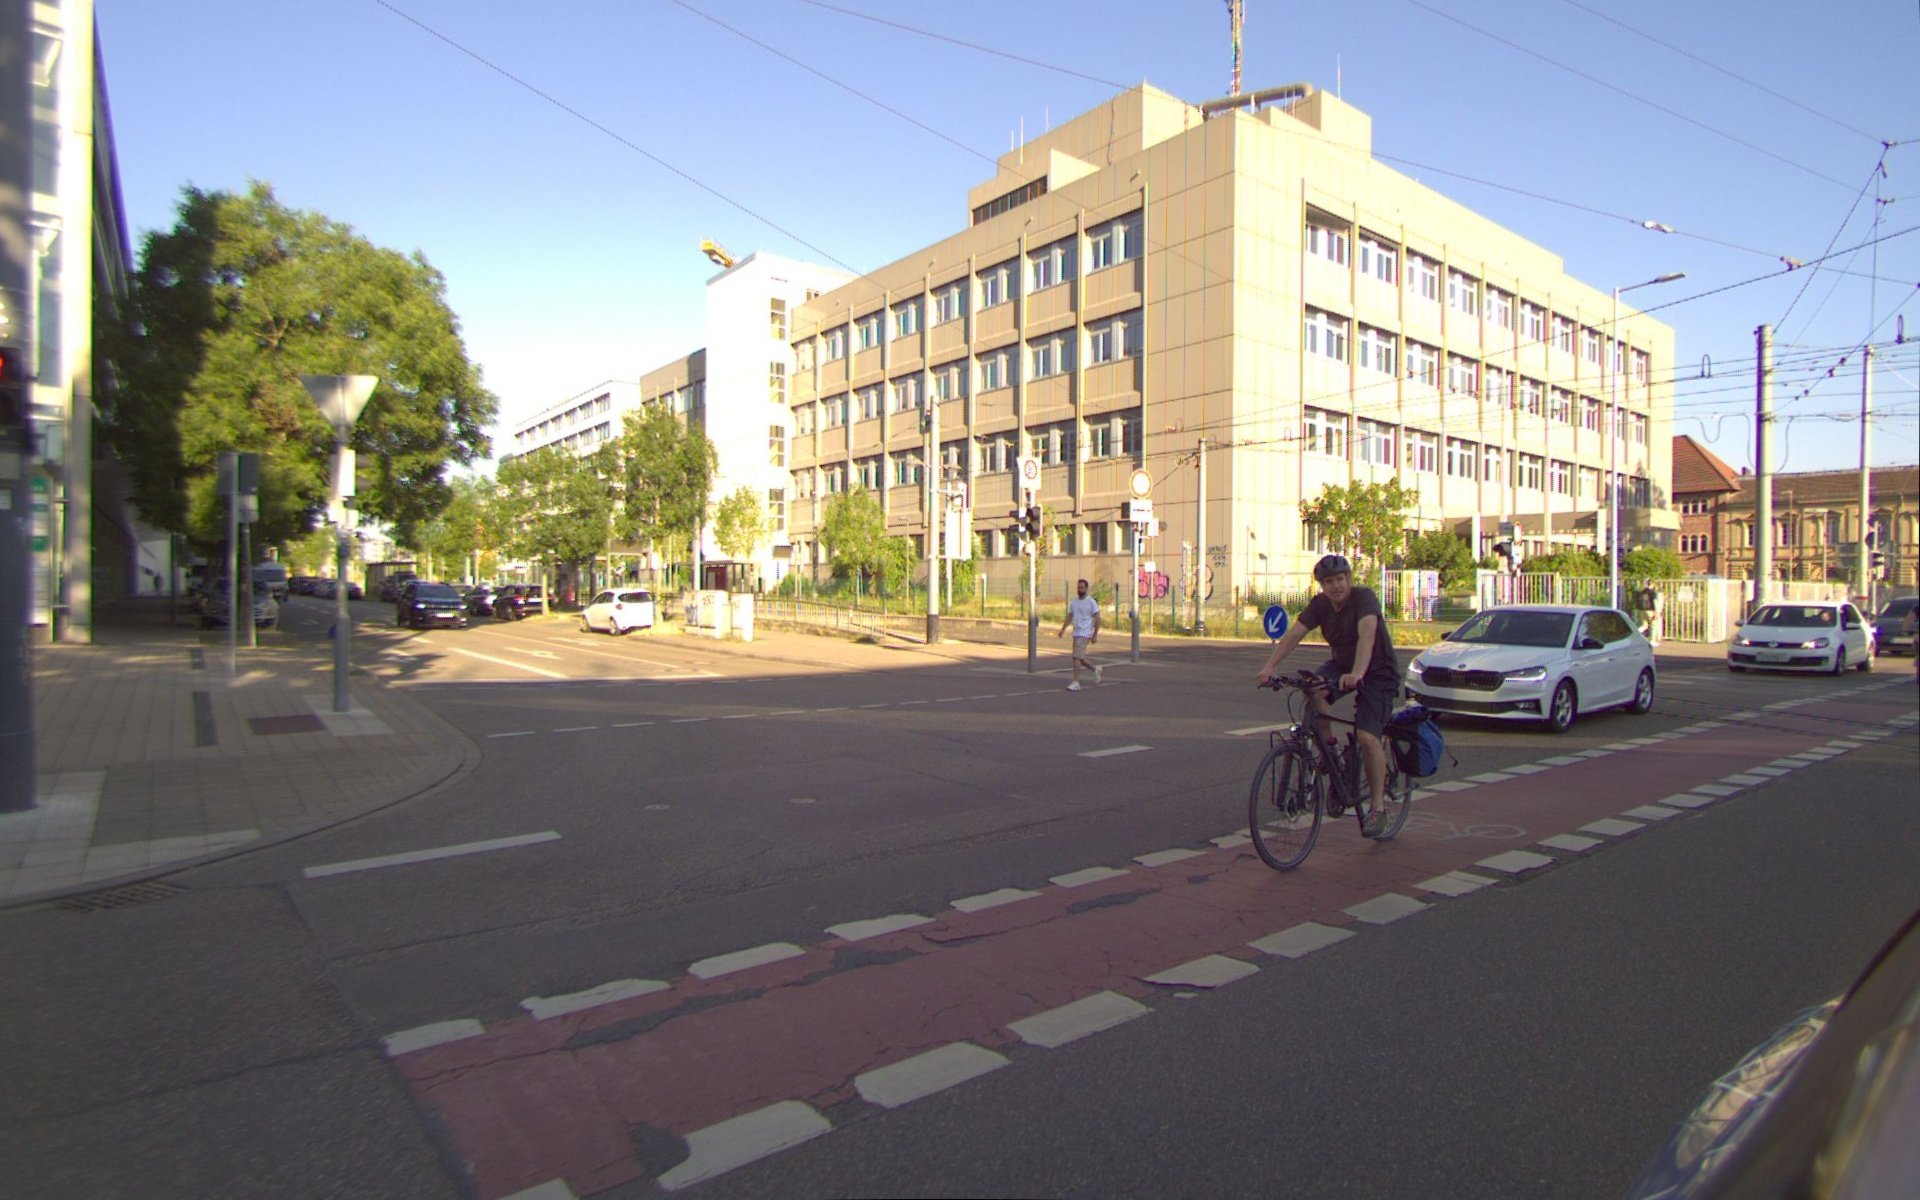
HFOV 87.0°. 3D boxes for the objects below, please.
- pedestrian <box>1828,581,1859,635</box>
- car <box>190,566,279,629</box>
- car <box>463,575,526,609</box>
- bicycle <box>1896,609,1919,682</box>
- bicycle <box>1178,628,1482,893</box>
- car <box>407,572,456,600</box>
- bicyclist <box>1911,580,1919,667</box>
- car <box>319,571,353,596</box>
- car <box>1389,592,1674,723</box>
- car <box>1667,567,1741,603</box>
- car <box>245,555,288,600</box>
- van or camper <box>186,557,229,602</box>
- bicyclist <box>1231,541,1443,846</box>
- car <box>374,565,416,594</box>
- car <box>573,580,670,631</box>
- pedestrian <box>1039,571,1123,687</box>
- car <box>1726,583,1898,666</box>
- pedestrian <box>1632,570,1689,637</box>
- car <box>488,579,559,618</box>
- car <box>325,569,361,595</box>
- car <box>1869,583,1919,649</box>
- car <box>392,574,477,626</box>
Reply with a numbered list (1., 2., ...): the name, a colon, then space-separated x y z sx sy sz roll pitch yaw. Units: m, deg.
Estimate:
1. pedestrian: 29.301 0.257 33.562 0.755 1.784 0.593 0 1 -33
2. car: -21.411 -0.105 29.801 1.951 1.717 3.997 0 1 -38
3. car: -23.073 -0.427 50.096 1.964 1.621 3.997 0 1 -38
4. bicycle: 16.381 0.735 16.791 2.263 1.158 0.765 0 1 -35
5. bicycle: 2.222 0.844 5.976 1.928 1.297 0.652 0 1 -33
6. car: -32.158 -0.878 61.582 1.964 1.621 3.997 0 1 -38
7. bicyclist: 16.439 0.383 16.832 0.843 1.440 0.728 0 0 -34
8. car: -50.344 -1.326 81.605 1.963 1.934 3.998 0 0 -37
9. car: 7.262 0.607 12.726 4.000 1.407 1.705 0 0 -38
10. car: 39.950 -0.794 54.308 4.698 1.865 1.999 0 1 -38
11. car: -44.436 -1.395 64.793 2.017 2.708 5.015 0 0 -38
12. van or camper: -45.050 -1.234 60.554 1.951 2.535 4.399 0 1 -38
13. bicyclist: 2.221 0.491 5.959 1.067 1.623 0.652 0 1 -33
14. car: -39.311 -1.439 70.385 1.964 1.946 3.997 0 1 -38
15. car: -11.800 0.150 35.150 1.964 1.632 3.997 0 1 -38
16. pedestrian: 1.998 0.446 16.679 1.195 1.846 0.778 0 1 -42
17. car: 17.271 0.456 20.459 4.222 1.521 1.793 0 -2 -38
18. pedestrian: 19.491 0.093 28.192 1.064 1.835 0.735 0 0 9
19. car: -19.525 -0.095 45.201 1.964 1.621 3.997 0 1 -38
20. car: -47.023 -1.354 77.133 1.963 1.934 3.998 0 0 -37
21. car: 25.880 0.393 26.905 4.222 1.664 1.793 0 -2 -38
22. car: -18.724 -0.030 35.960 1.951 1.717 3.997 2 0 -38
